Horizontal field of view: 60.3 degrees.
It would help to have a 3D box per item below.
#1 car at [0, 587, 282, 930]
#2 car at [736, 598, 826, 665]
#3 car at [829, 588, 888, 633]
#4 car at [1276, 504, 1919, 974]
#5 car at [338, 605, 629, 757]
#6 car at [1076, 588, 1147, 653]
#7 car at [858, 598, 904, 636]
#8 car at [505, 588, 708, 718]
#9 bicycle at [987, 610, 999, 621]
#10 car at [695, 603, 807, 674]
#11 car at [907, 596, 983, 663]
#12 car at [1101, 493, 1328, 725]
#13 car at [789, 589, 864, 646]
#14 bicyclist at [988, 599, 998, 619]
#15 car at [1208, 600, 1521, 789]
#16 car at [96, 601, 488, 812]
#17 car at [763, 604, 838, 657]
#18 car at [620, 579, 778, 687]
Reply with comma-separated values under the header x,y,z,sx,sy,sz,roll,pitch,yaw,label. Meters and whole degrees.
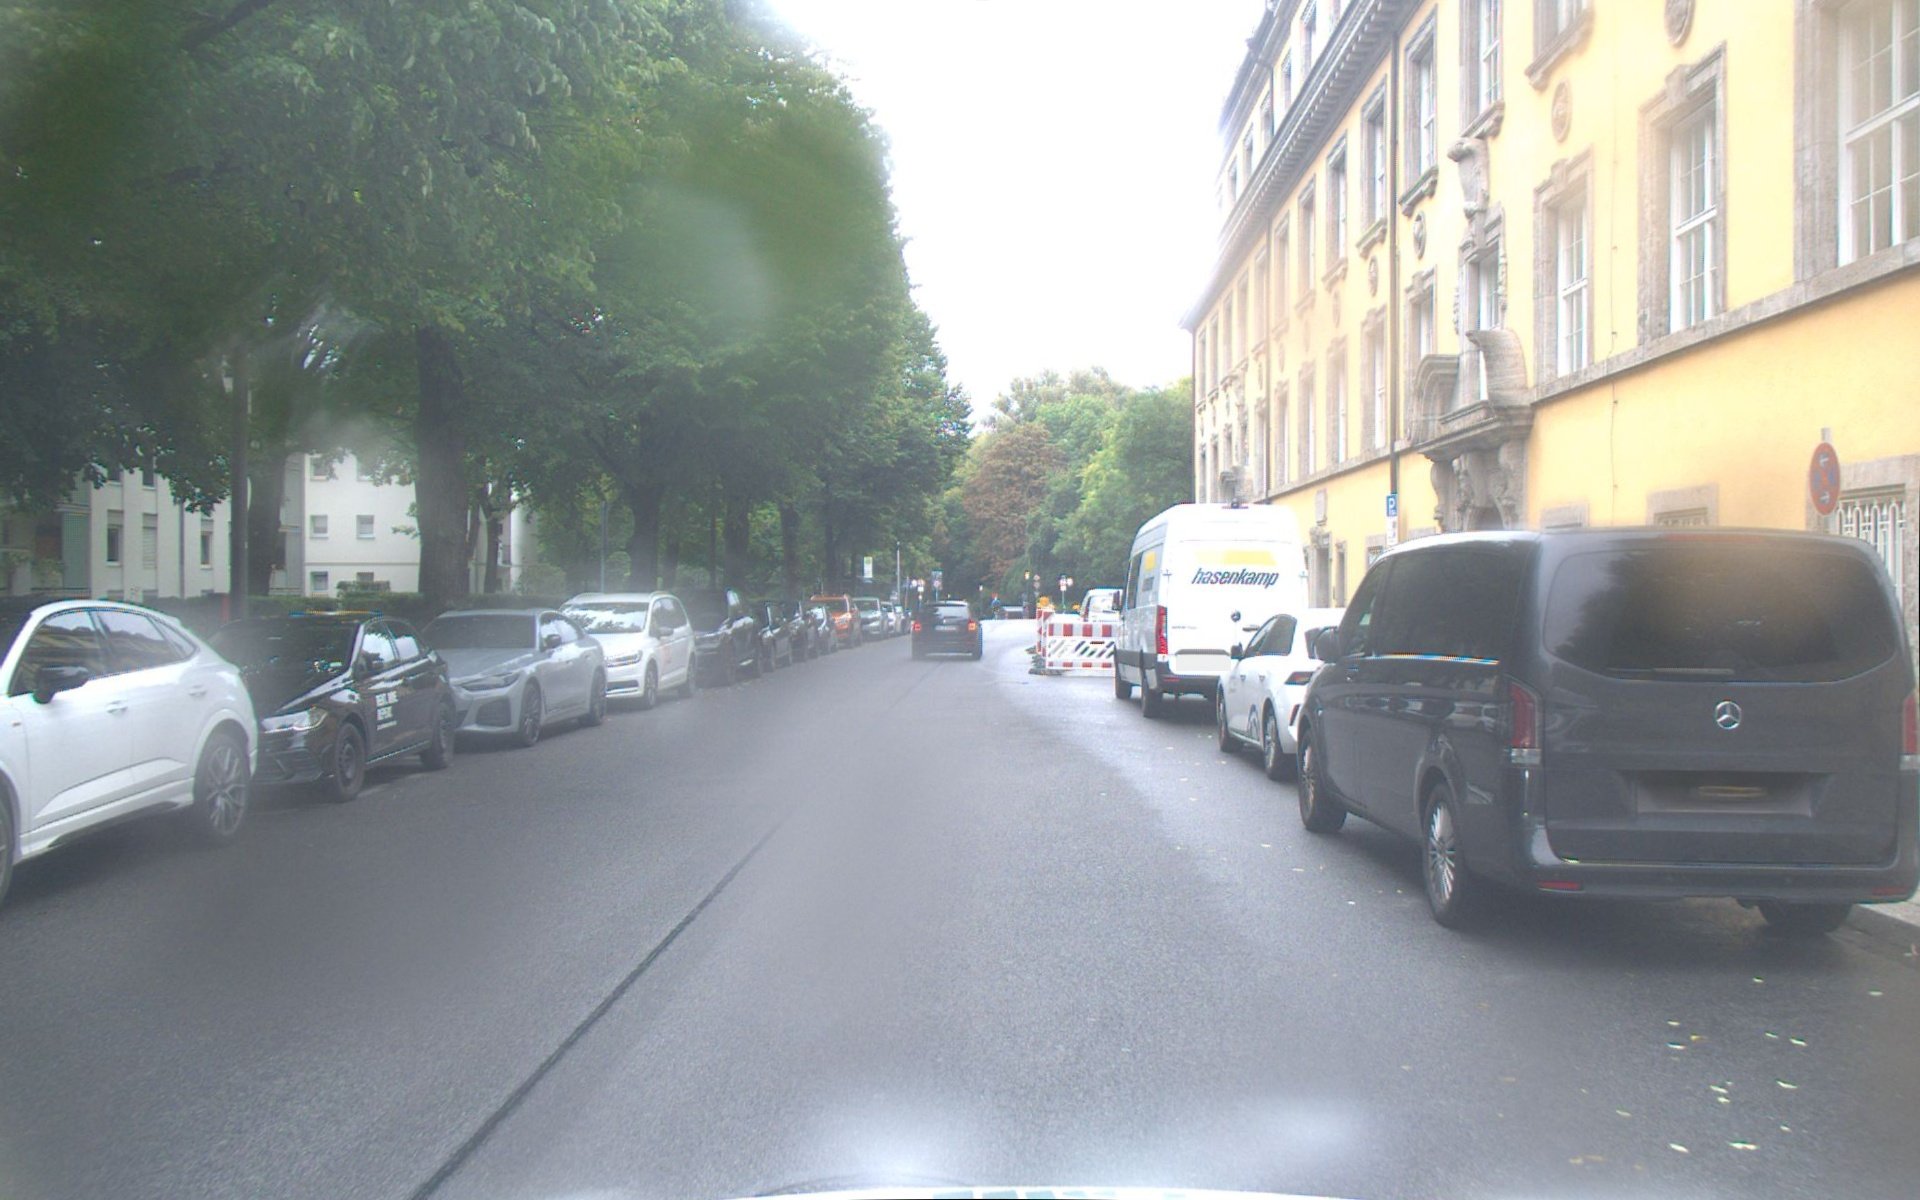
x,y,z,sx,sy,sz,roll,pitch,yaw,label
-5.422,0.762,8.793,1.747,1.625,4.584,0,0,0,car
-4.541,0.755,42.531,1.749,1.602,4.487,-1,0,1,car
-3.804,0.376,62.634,1.777,1.629,4.514,-1,0,2,car
3.174,0.576,9.247,1.832,1.902,4.986,0,0,0,car
-5.254,0.817,18.981,1.772,1.495,4.998,-1,0,1,car
4.370,0.592,48.135,1.704,1.780,4.356,-1,-1,1,car
-3.252,0.680,68.504,1.544,1.523,4.200,-1,0,2,car
-5.065,0.713,24.342,1.728,1.650,4.524,-3,0,3,car
2.546,1.184,128.212,0.666,0.844,2.106,0,-1,-7,bicycle
-4.620,0.806,37.136,1.683,1.476,4.697,-1,0,3,car
-0.337,0.720,42.238,1.544,1.611,4.046,-1,0,5,car
3.333,0.124,23.372,2.012,2.720,7.613,0,0,0,car
-4.294,0.552,53.902,1.833,1.758,4.642,-1,0,3,car
2.557,0.710,128.068,0.668,1.530,0.900,-1,0,-7,bicyclist
3.538,0.759,15.289,1.832,1.483,4.255,-1,0,0,car
-5.379,0.772,13.927,1.638,1.495,4.103,0,0,0,car
-4.613,0.850,48.411,1.692,1.447,4.252,-1,0,1,car
-4.856,0.585,31.471,1.952,1.828,4.922,-2,0,3,car
